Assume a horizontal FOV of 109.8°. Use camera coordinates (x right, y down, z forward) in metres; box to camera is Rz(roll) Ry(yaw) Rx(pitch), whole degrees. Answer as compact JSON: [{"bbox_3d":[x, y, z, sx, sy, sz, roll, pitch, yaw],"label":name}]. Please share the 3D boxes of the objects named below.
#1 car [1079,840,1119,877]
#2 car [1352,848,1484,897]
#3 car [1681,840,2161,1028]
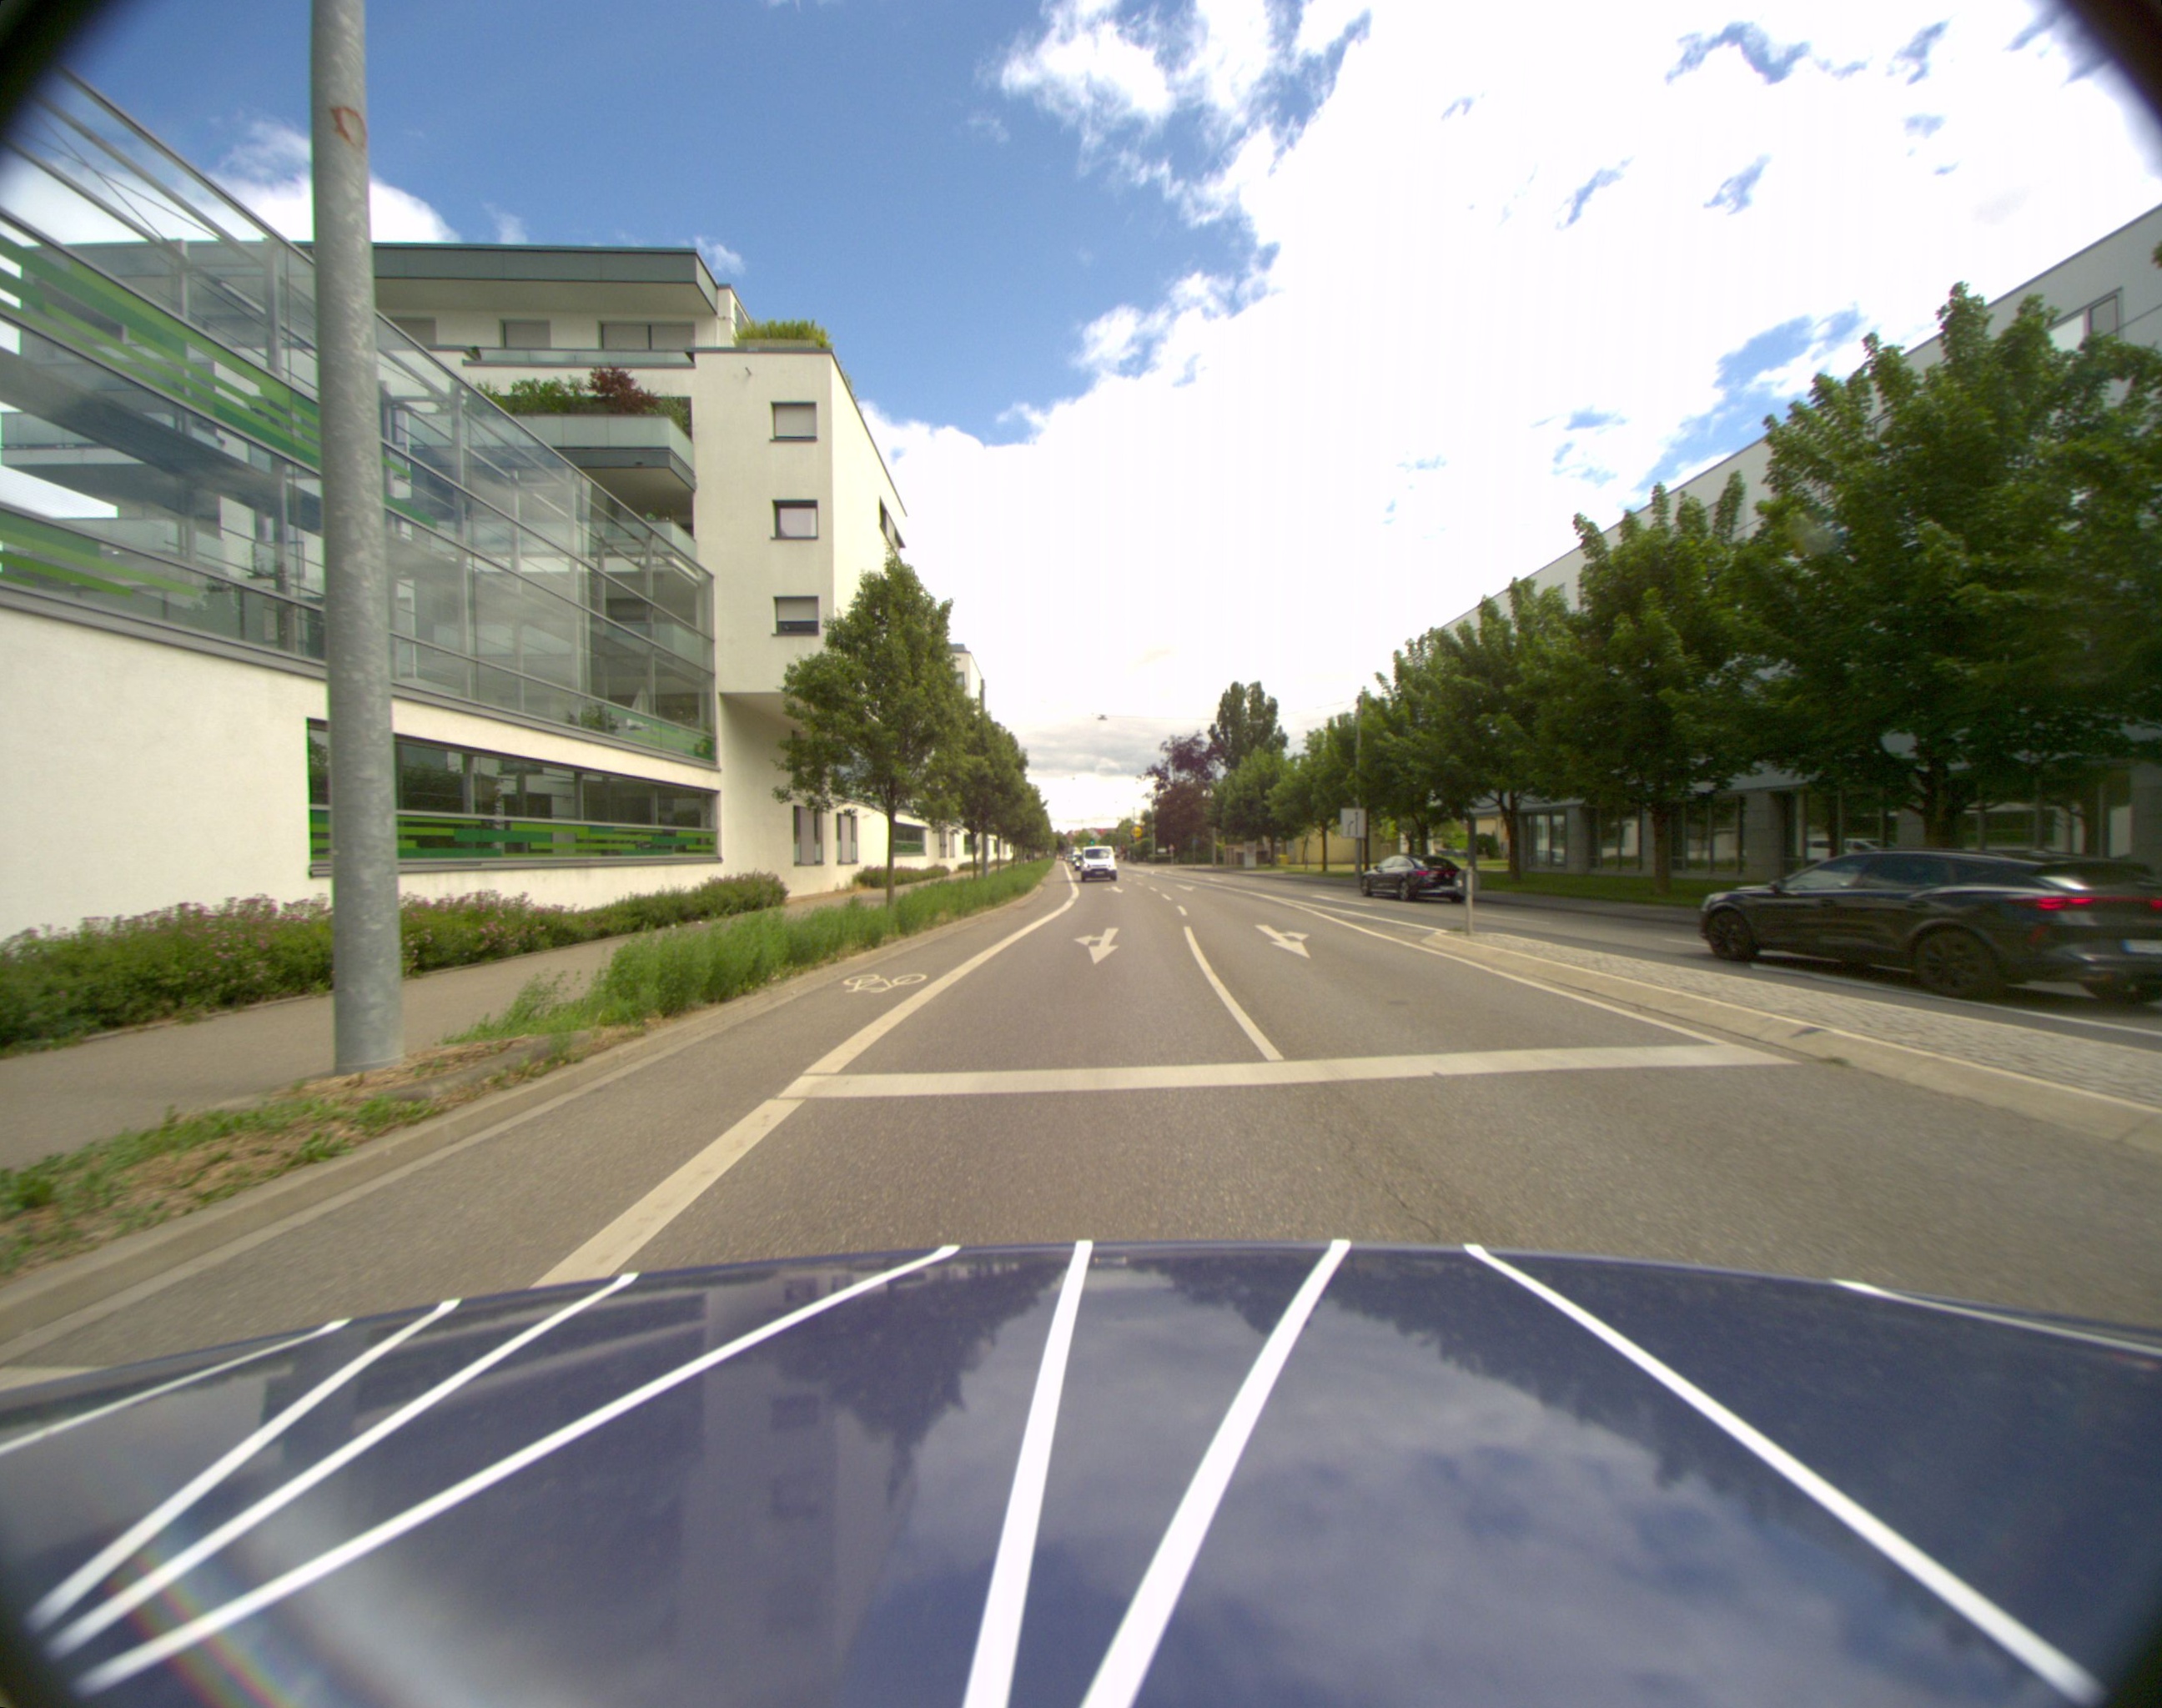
[{"bbox_3d":[1.007,0.198,43.578,1.999,1.906,3.998,-2,1,-2],"label":"car"},{"bbox_3d":[11.137,0.547,25.599,2.029,1.437,5.048,1,1,-2],"label":"car"},{"bbox_3d":[9.532,0.639,8.671,1.889,1.543,4.539,0,2,3],"label":"car"}]
